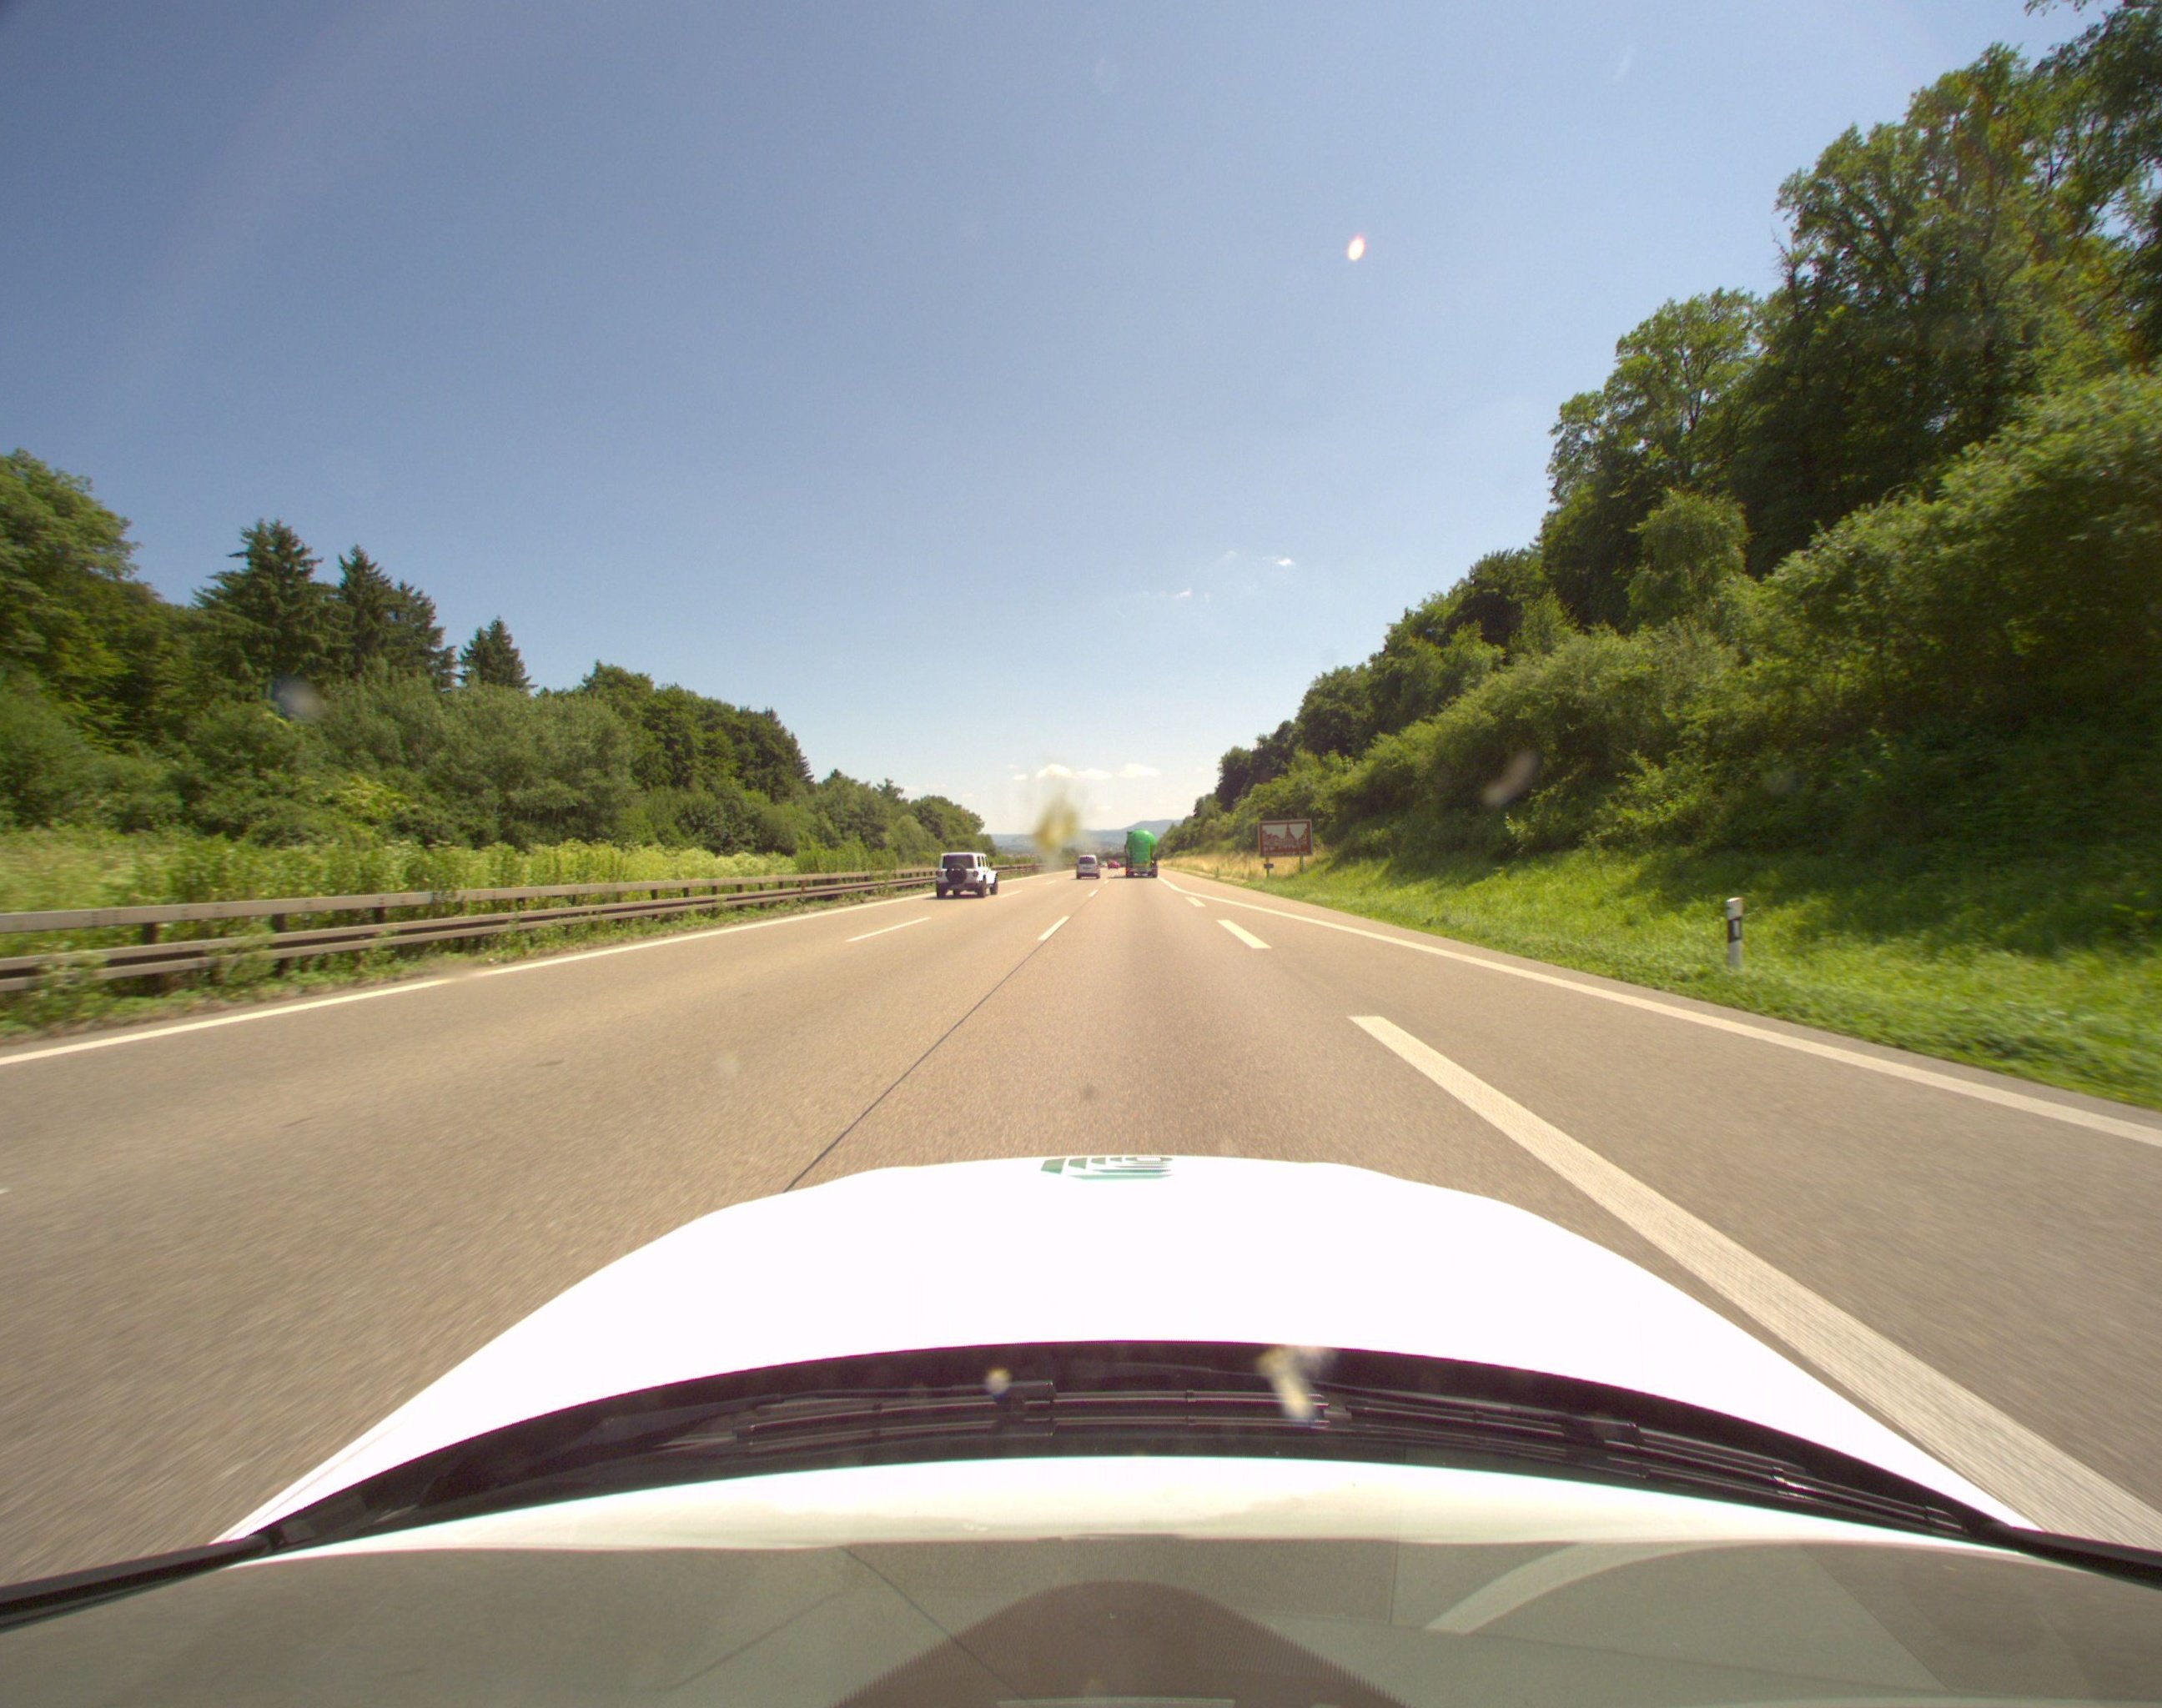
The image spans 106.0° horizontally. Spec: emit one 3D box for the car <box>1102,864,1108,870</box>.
[{"bbox_3d":[6.106,3.415,210.462,1.395,1.396,3.216,0,-1,4],"label":"car"}]

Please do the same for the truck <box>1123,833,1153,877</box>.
[{"bbox_3d":[5.174,0.128,74.438,2.500,3.842,4.895,0,-1,2],"label":"truck"}]

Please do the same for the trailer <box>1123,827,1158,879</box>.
[{"bbox_3d":[4.932,-0.024,69.252,2.577,4.028,10.475,0,-1,2],"label":"trailer"}]

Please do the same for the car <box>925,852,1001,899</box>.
[{"bbox_3d":[-4.849,0.865,34.170,2.073,1.830,4.760,0,-1,5],"label":"car"}]

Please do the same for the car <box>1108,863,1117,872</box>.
[{"bbox_3d":[5.579,2.429,143.471,1.438,1.550,3.362,0,-1,6],"label":"car"}]

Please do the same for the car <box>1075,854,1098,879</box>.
[{"bbox_3d":[0.477,0.976,64.245,1.739,1.830,4.802,0,-1,2],"label":"car"}]
